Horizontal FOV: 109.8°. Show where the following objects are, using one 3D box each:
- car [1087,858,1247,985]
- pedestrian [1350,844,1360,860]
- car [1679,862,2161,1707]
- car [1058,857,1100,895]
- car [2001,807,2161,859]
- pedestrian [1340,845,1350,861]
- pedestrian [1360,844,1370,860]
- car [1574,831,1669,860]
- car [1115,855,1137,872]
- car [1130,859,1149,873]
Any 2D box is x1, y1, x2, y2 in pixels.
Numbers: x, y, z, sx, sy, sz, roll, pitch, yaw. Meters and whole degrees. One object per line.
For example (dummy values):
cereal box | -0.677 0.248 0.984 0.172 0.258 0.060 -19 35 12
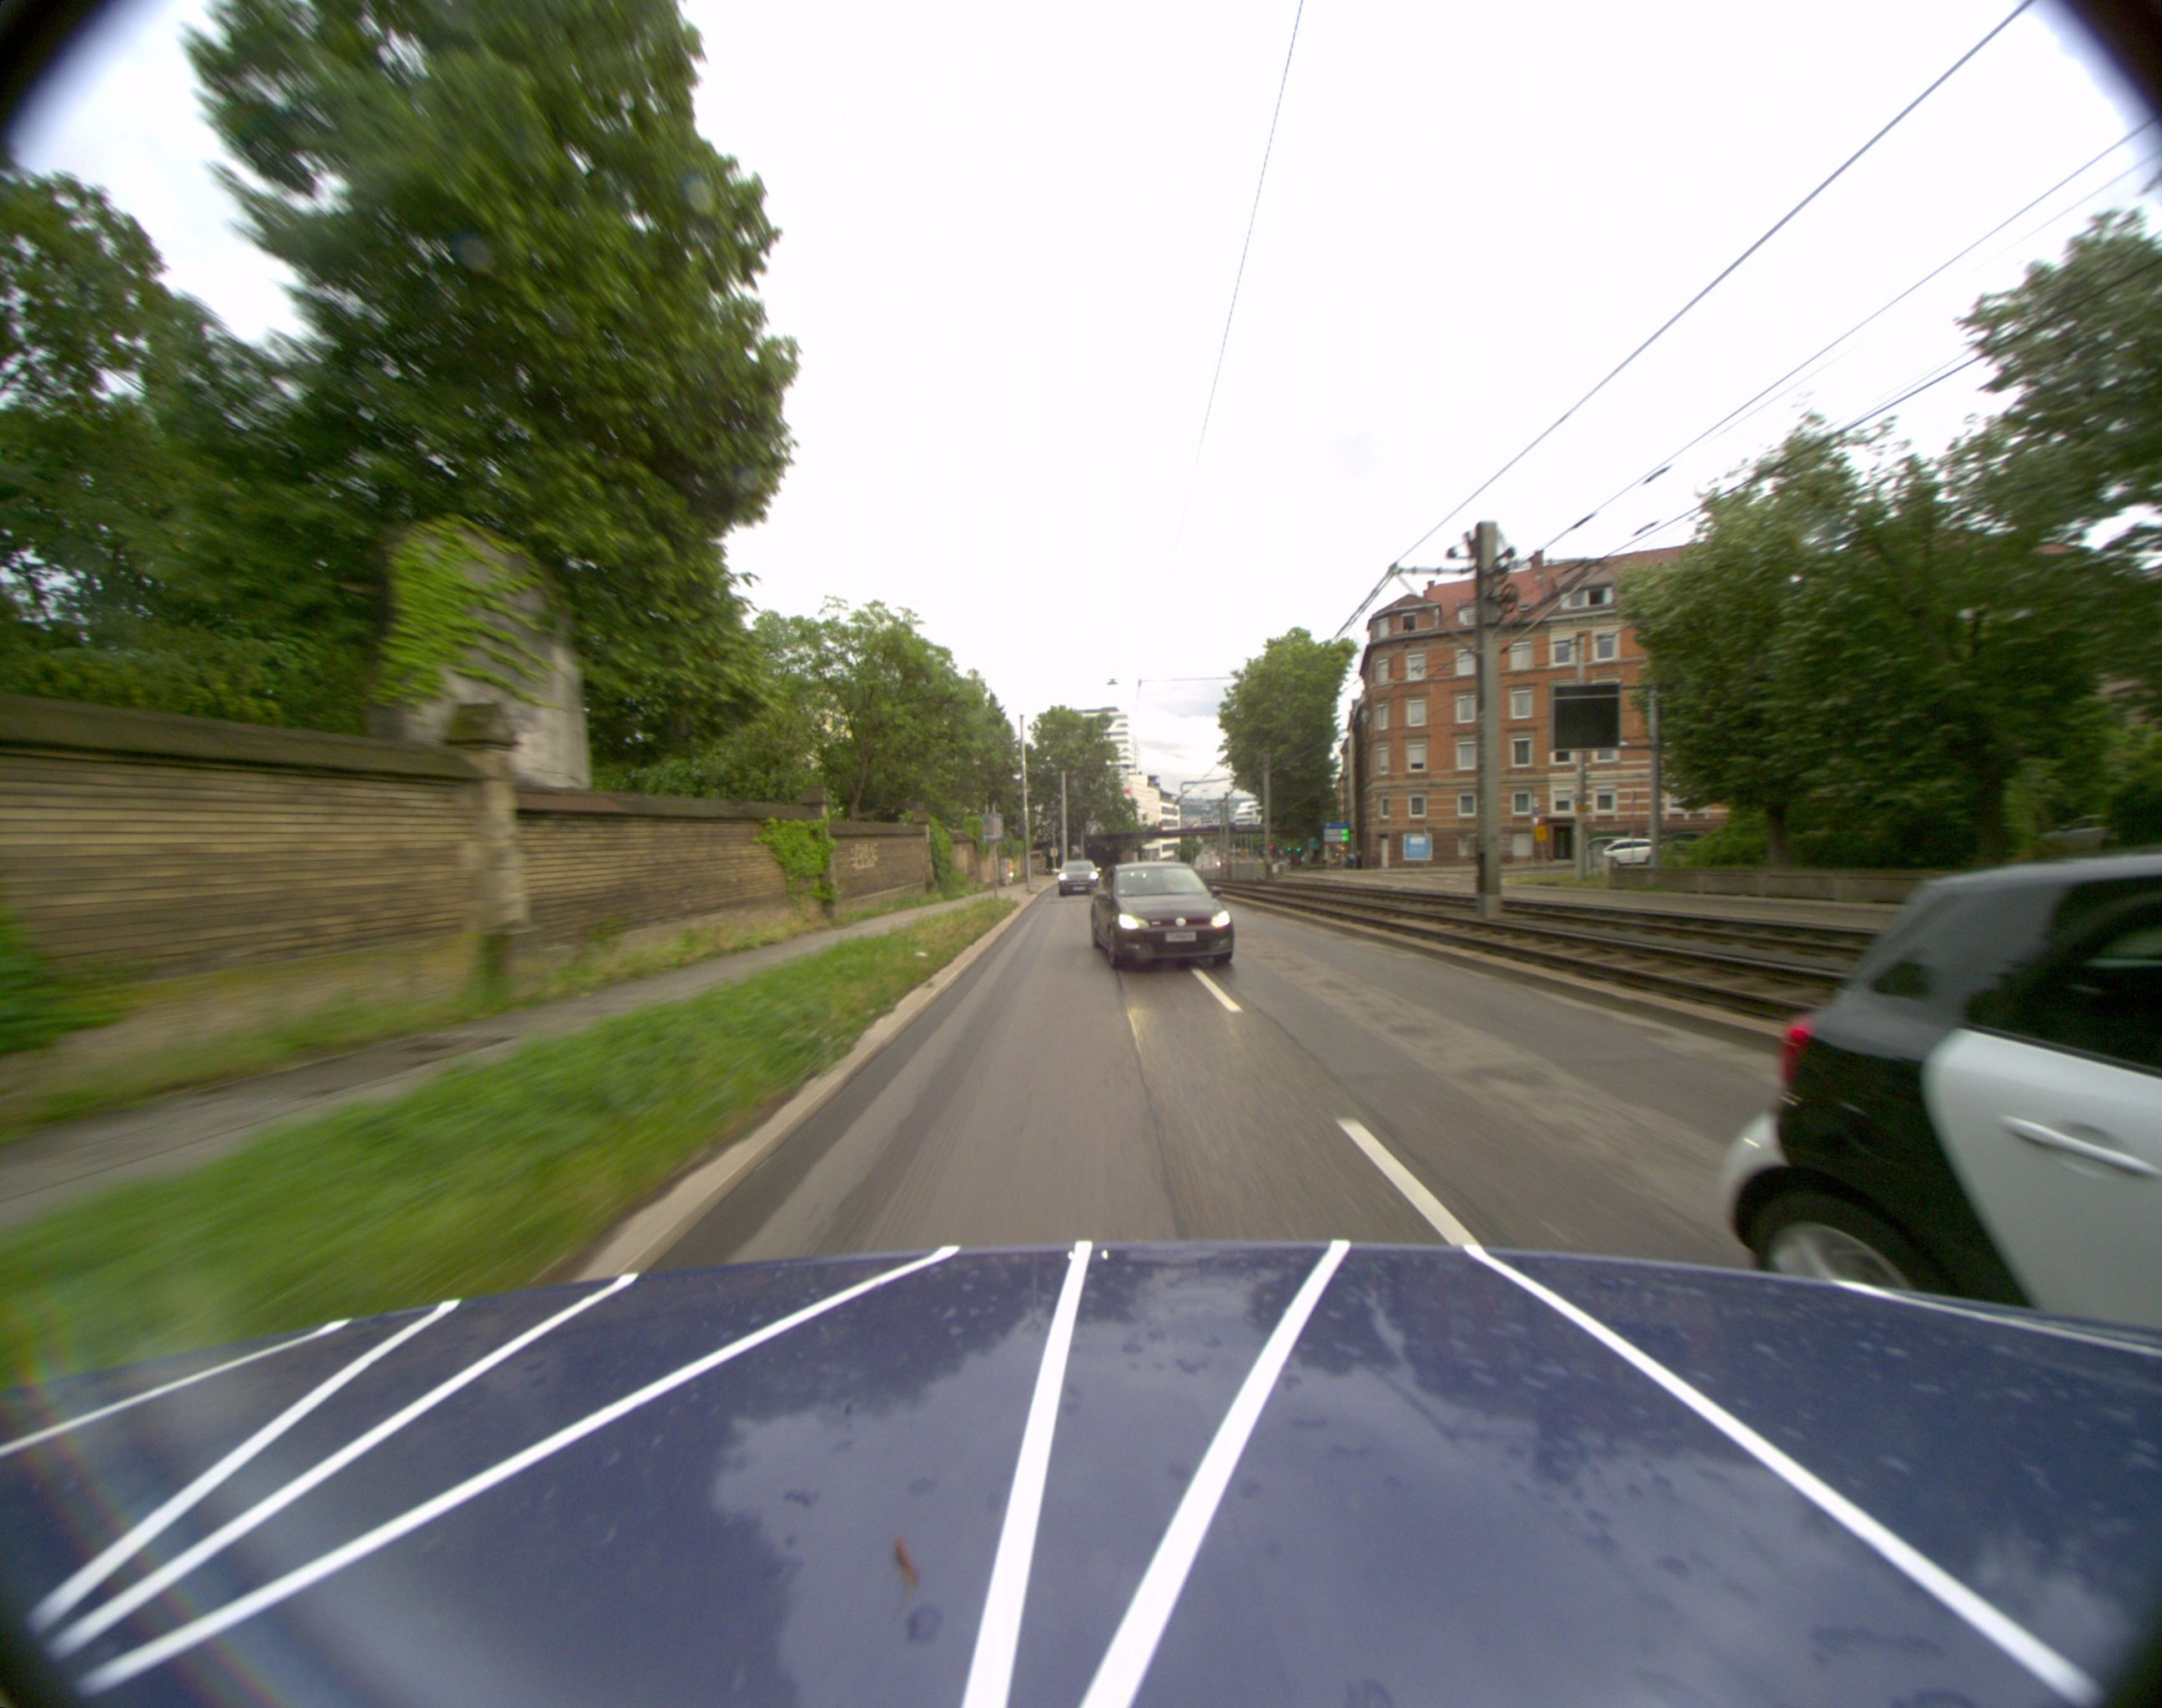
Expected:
car | 1.096 0.856 11.512 1.799 1.477 3.964 -3 0 -2
pedestrian | 23.622 -0.161 65.593 0.620 1.346 0.538 -3 1 0
car | 2.693 0.800 0.492 1.680 1.522 3.721 -1 0 0
car | -0.058 0.899 32.961 1.658 1.483 3.829 -1 0 1
car | 35.400 -0.742 26.775 1.996 1.612 4.005 -3 1 20
pedestrian | 22.876 -0.096 65.800 0.620 1.346 0.538 -3 1 0
pedestrian | 24.258 -0.207 64.903 0.620 1.346 0.538 -1 1 1
car | 33.034 -0.521 46.613 4.428 1.588 1.844 -2 0 23
car | 4.135 0.869 68.888 1.640 1.368 3.576 -2 1 9
car | 6.520 1.328 84.386 1.734 1.368 4.002 -3 1 8
